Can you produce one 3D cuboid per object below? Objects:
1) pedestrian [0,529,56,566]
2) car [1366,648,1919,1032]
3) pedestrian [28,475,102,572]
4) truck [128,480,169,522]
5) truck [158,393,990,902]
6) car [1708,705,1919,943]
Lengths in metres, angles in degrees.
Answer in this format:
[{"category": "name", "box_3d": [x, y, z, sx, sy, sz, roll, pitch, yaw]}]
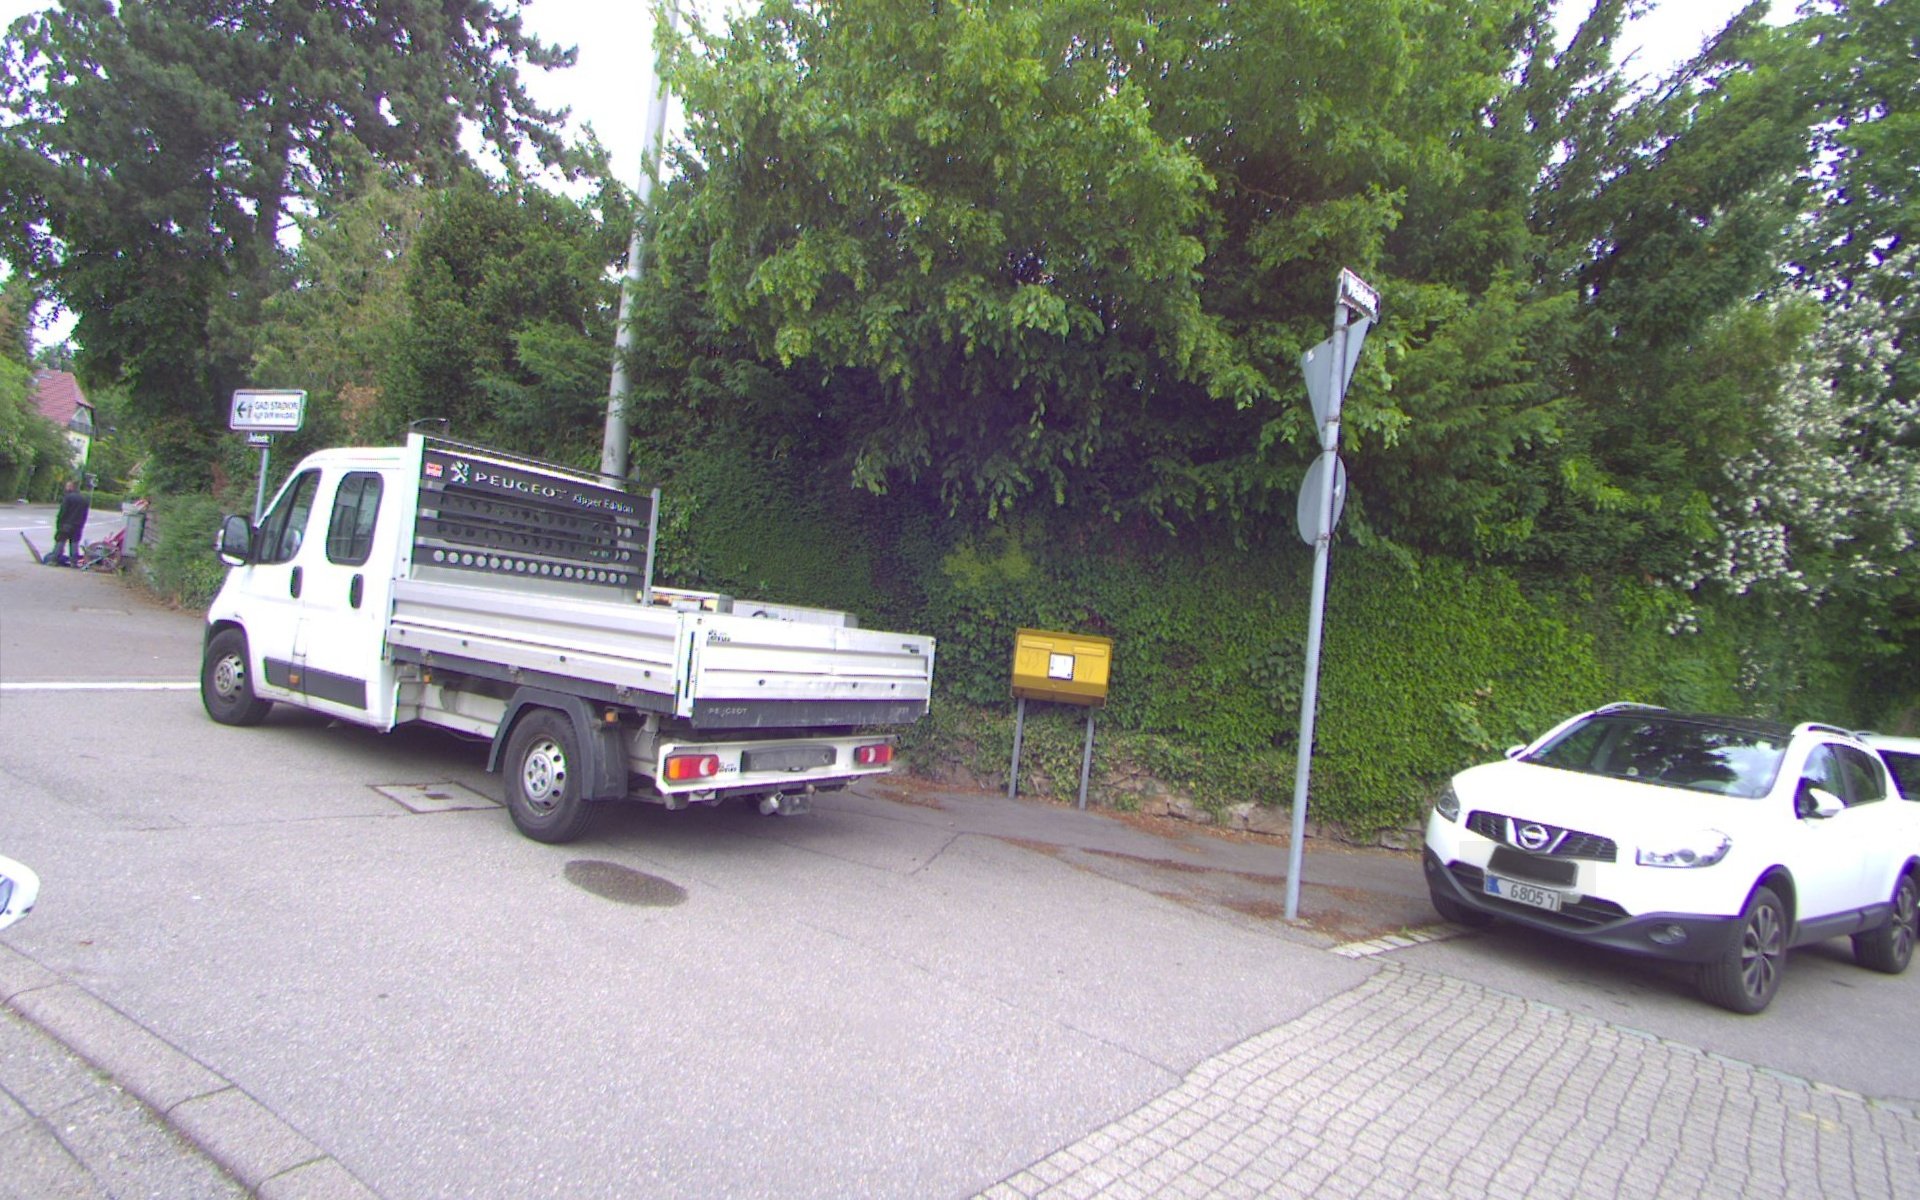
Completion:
[{"category": "pedestrian", "box_3d": [-20.675, -1.159, 22.309, 0.574, 0.705, 0.647, 8, -1, 13]}, {"category": "car", "box_3d": [4.800, 1.427, 6.718, 4.031, 1.659, 1.851, 8, -1, -35]}, {"category": "pedestrian", "box_3d": [-19.568, -1.666, 22.000, 0.788, 1.946, 0.847, 8, 0, 34]}, {"category": "truck", "box_3d": [-80.968, -9.837, 100.416, 2.766, 3.501, 7.415, 8, -2, -39]}, {"category": "truck", "box_3d": [-3.103, 0.073, 7.366, 6.090, 2.379, 2.400, 6, -2, 34]}, {"category": "car", "box_3d": [8.930, 2.069, 9.351, 4.030, 1.679, 1.852, 9, -2, -34]}]
